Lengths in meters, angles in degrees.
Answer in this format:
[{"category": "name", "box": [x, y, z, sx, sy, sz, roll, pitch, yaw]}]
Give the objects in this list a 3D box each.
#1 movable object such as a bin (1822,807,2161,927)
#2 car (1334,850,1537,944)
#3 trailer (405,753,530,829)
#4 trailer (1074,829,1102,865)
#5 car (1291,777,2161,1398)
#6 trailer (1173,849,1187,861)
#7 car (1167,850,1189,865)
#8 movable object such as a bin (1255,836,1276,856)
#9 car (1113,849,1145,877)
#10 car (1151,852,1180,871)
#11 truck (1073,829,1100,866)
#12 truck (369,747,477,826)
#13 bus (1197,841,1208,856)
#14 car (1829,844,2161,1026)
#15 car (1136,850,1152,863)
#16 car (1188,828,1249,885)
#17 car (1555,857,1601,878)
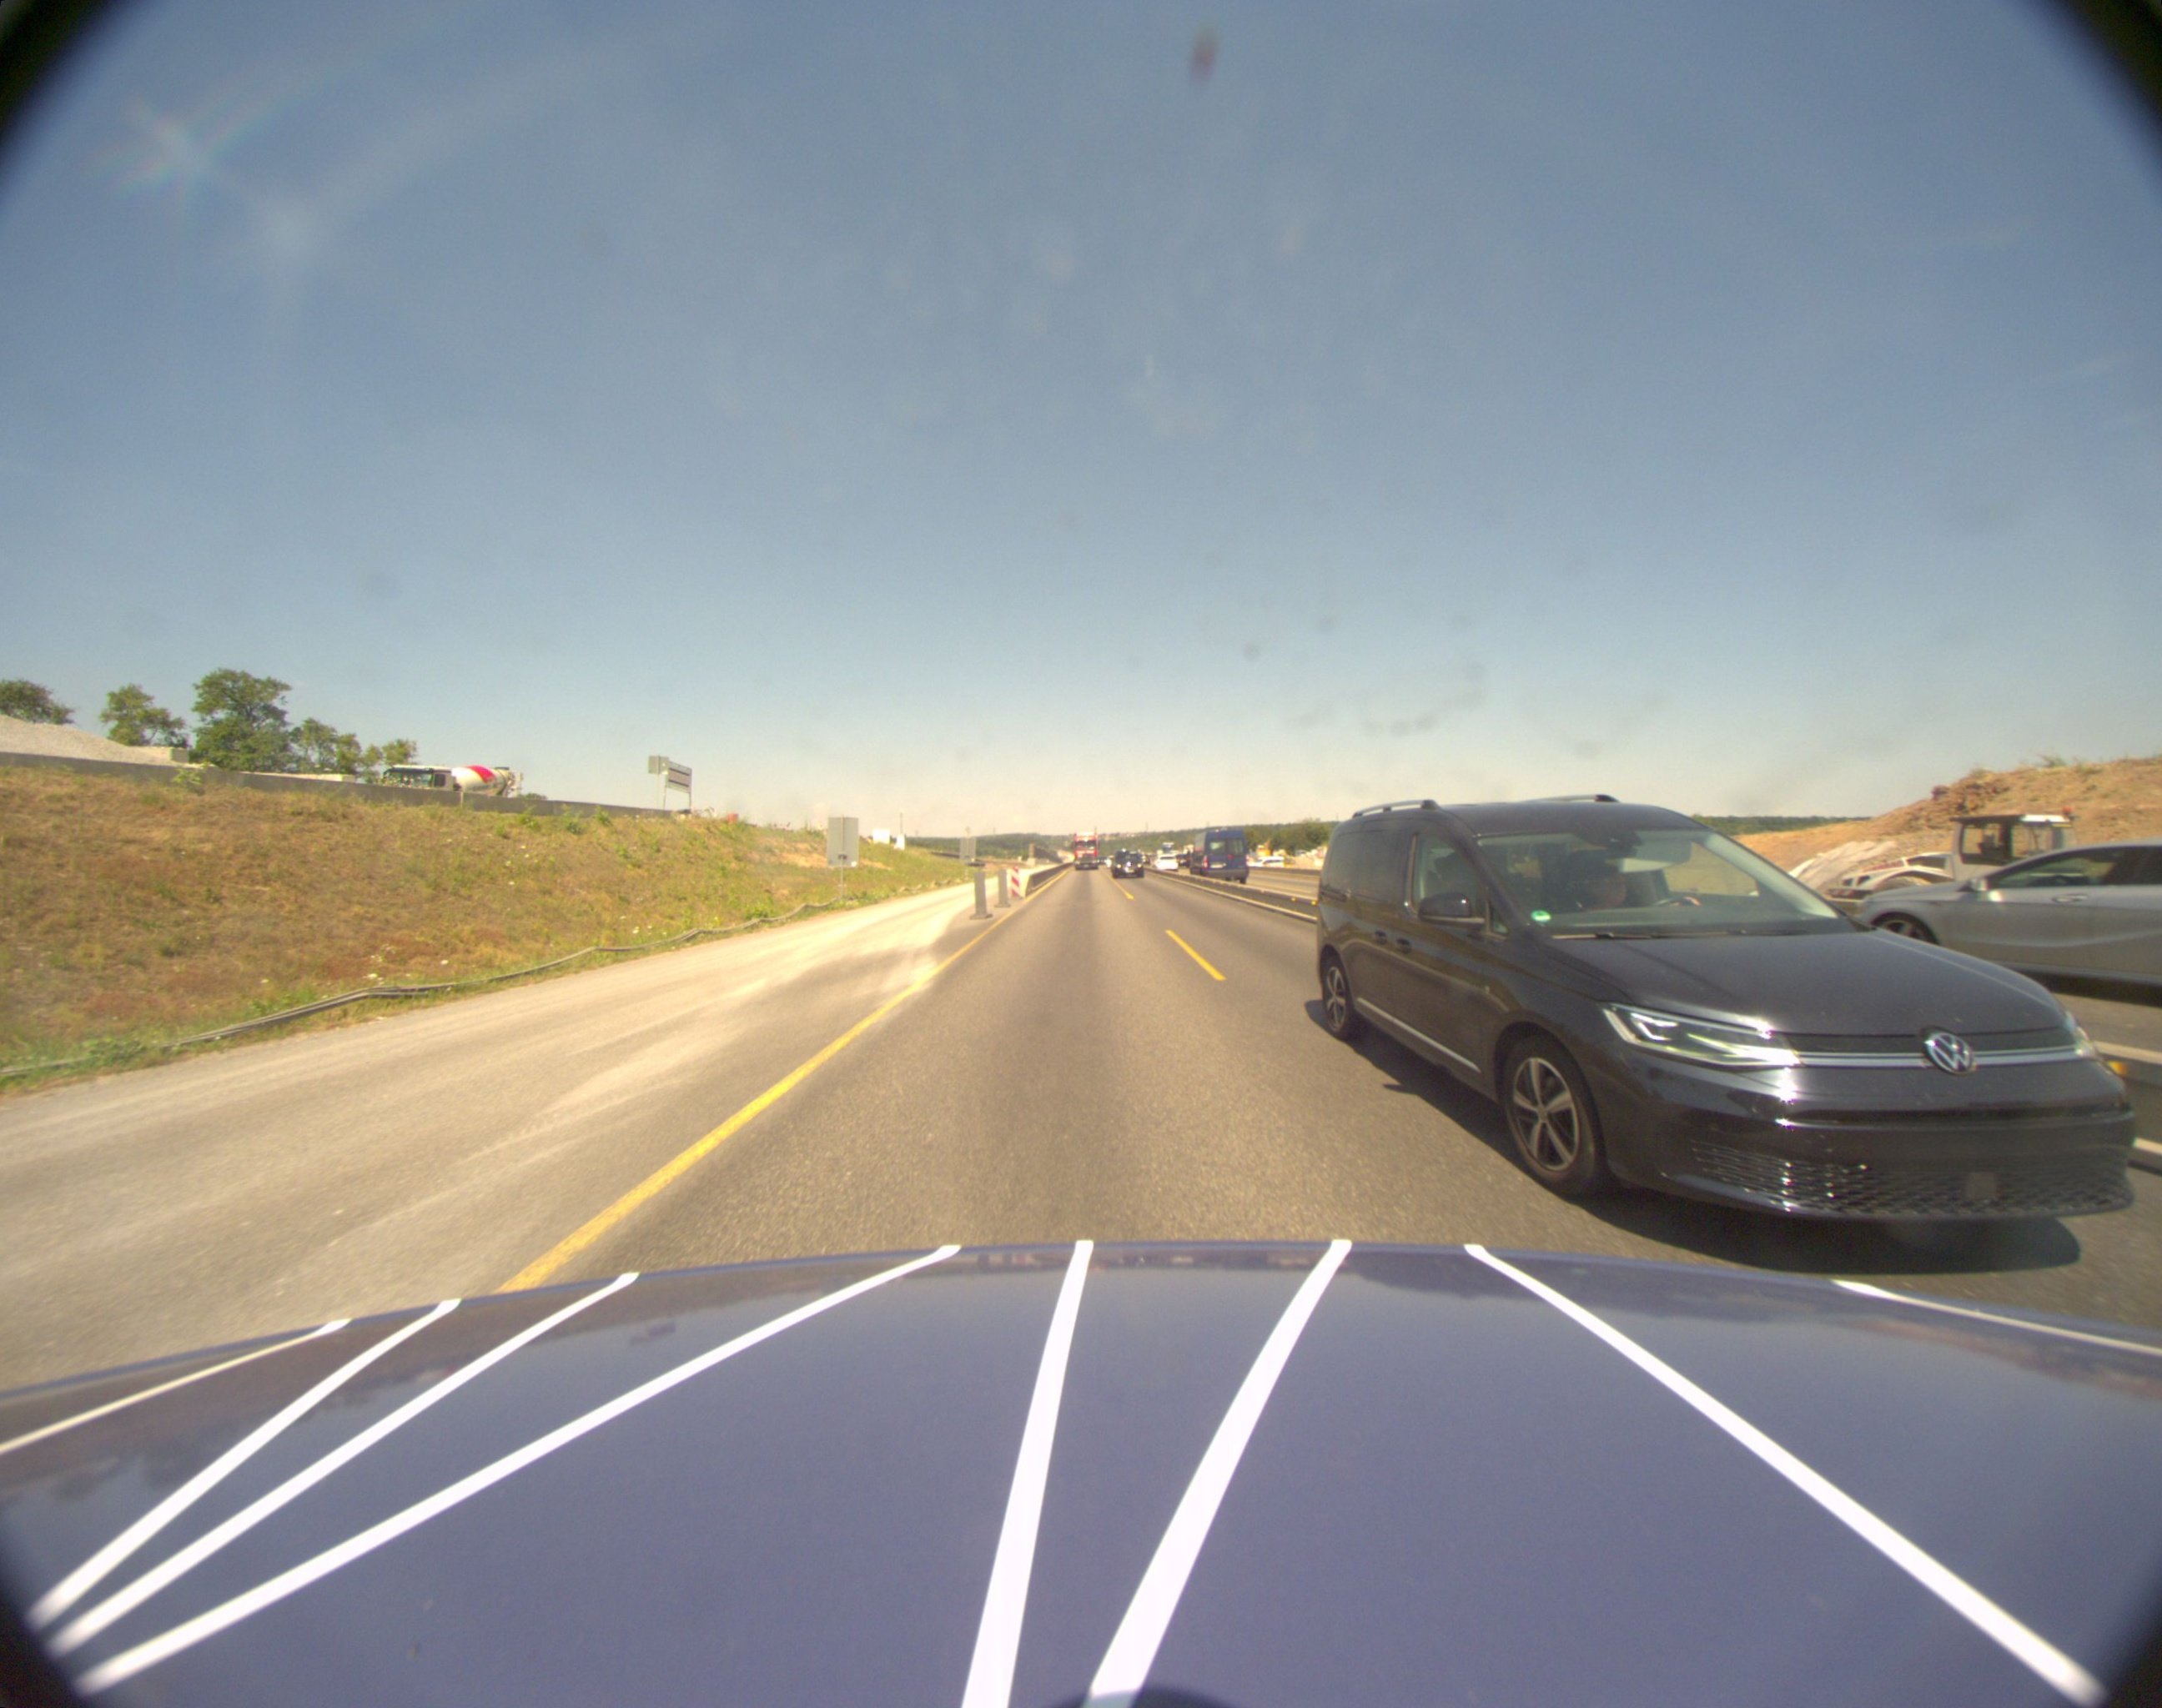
[{"category": "movable object such as a bin", "box": [22.621, 0.248, 18.987, 1.706, 2.446, 6.744, -1, 0, 1]}, {"category": "car", "box": [6.485, 0.686, 14.538, 1.791, 1.467, 4.524, -2, 0, 1]}, {"category": "trailer", "box": [-37.464, -3.721, 46.761, 2.765, 4.090, 6.740, -1, 0, -8]}, {"category": "trailer", "box": [0.922, -0.757, 89.079, 2.701, 3.852, 12.424, -1, 0, 3]}, {"category": "car", "box": [2.836, 0.669, 4.516, 1.926, 1.779, 4.603, -2, 0, 1]}, {"category": "trailer", "box": [15.976, 0.122, 123.116, 2.135, 1.970, 5.237, 0, 0, 6]}, {"category": "car", "box": [10.141, 0.371, 79.774, 1.729, 1.470, 4.393, -1, 0, 0]}, {"category": "movable object such as a bin", "box": [41.497, -1.826, 170.870, 2.926, 4.304, 9.341, -1, 0, 24]}, {"category": "car", "box": [3.145, 0.569, 50.071, 1.799, 1.776, 3.999, -1, 0, -1]}, {"category": "car", "box": [6.624, 0.546, 60.105, 1.682, 1.433, 4.671, -1, 0, 0]}, {"category": "truck", "box": [0.664, -0.704, 82.664, 2.626, 3.880, 4.934, -1, 0, 3]}, {"category": "truck", "box": [-36.918, -3.708, 42.814, 2.754, 4.072, 4.097, -1, 0, -8]}, {"category": "bus", "box": [26.390, -1.230, 165.343, 2.353, 3.107, 7.233, -1, 0, 8]}, {"category": "car", "box": [9.628, 0.651, 6.704, 1.695, 1.425, 4.448, -2, 0, 1]}, {"category": "car", "box": [8.687, 0.302, 104.794, 1.776, 1.731, 5.039, -1, 0, 1]}, {"category": "car", "box": [6.450, 0.112, 36.189, 1.960, 2.453, 5.357, -1, 0, 1]}, {"category": "car", "box": [49.606, 1.341, 75.887, 1.998, 2.002, 4.000, -1, 0, 1]}]
